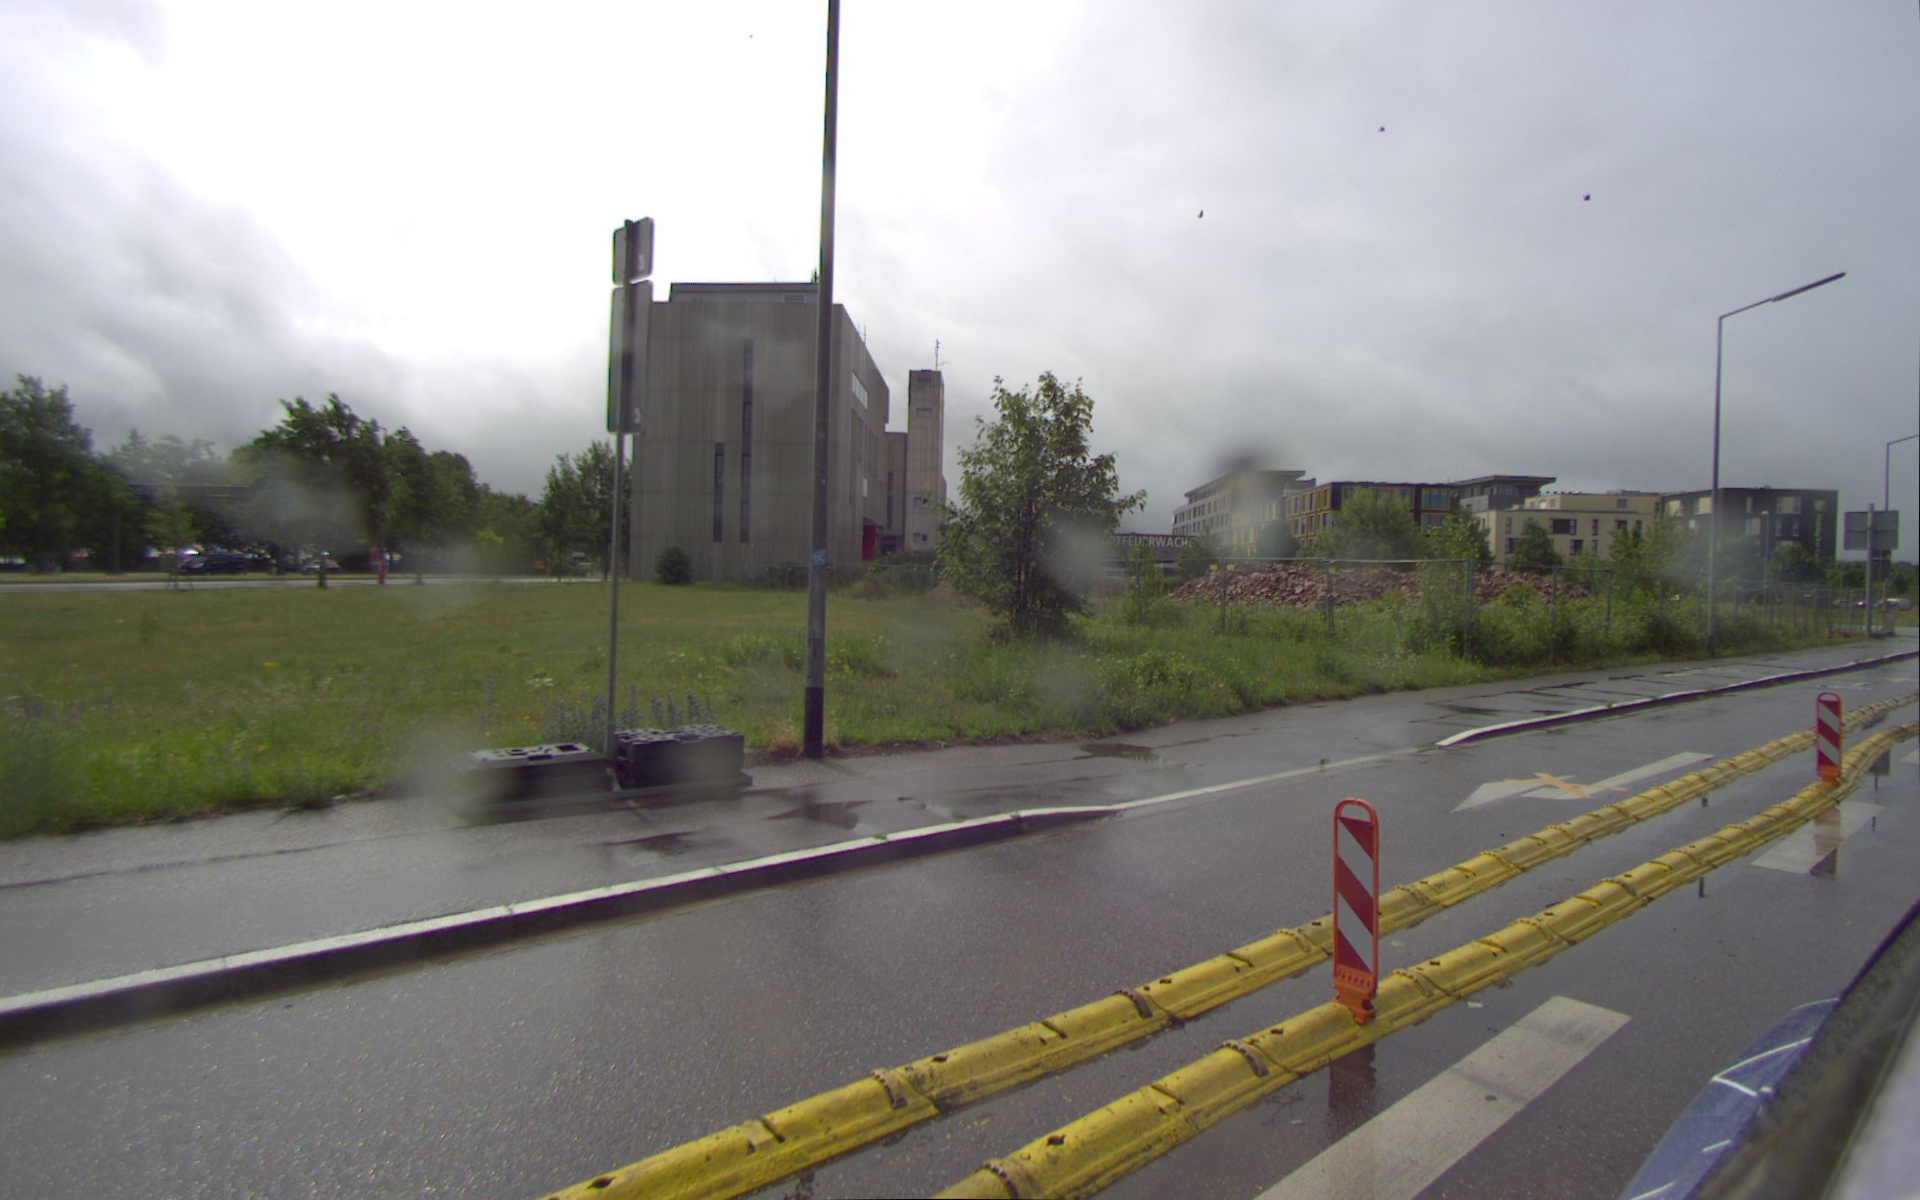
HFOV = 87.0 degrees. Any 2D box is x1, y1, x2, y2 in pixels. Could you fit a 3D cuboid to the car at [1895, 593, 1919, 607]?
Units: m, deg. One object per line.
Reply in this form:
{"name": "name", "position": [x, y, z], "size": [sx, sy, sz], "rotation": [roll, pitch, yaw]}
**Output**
{"name": "car", "position": [140.851, -0.017, 149.136], "size": [3.931, 2.039, 1.997], "rotation": [1, 1, 6]}

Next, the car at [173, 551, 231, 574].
{"name": "car", "position": [-56.756, -2.793, 75.838], "size": [1.515, 1.578, 3.521], "rotation": [1, 1, 3]}

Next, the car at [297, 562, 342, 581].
{"name": "car", "position": [-55.027, -2.458, 86.990], "size": [1.515, 1.578, 3.521], "rotation": [1, 1, 3]}
